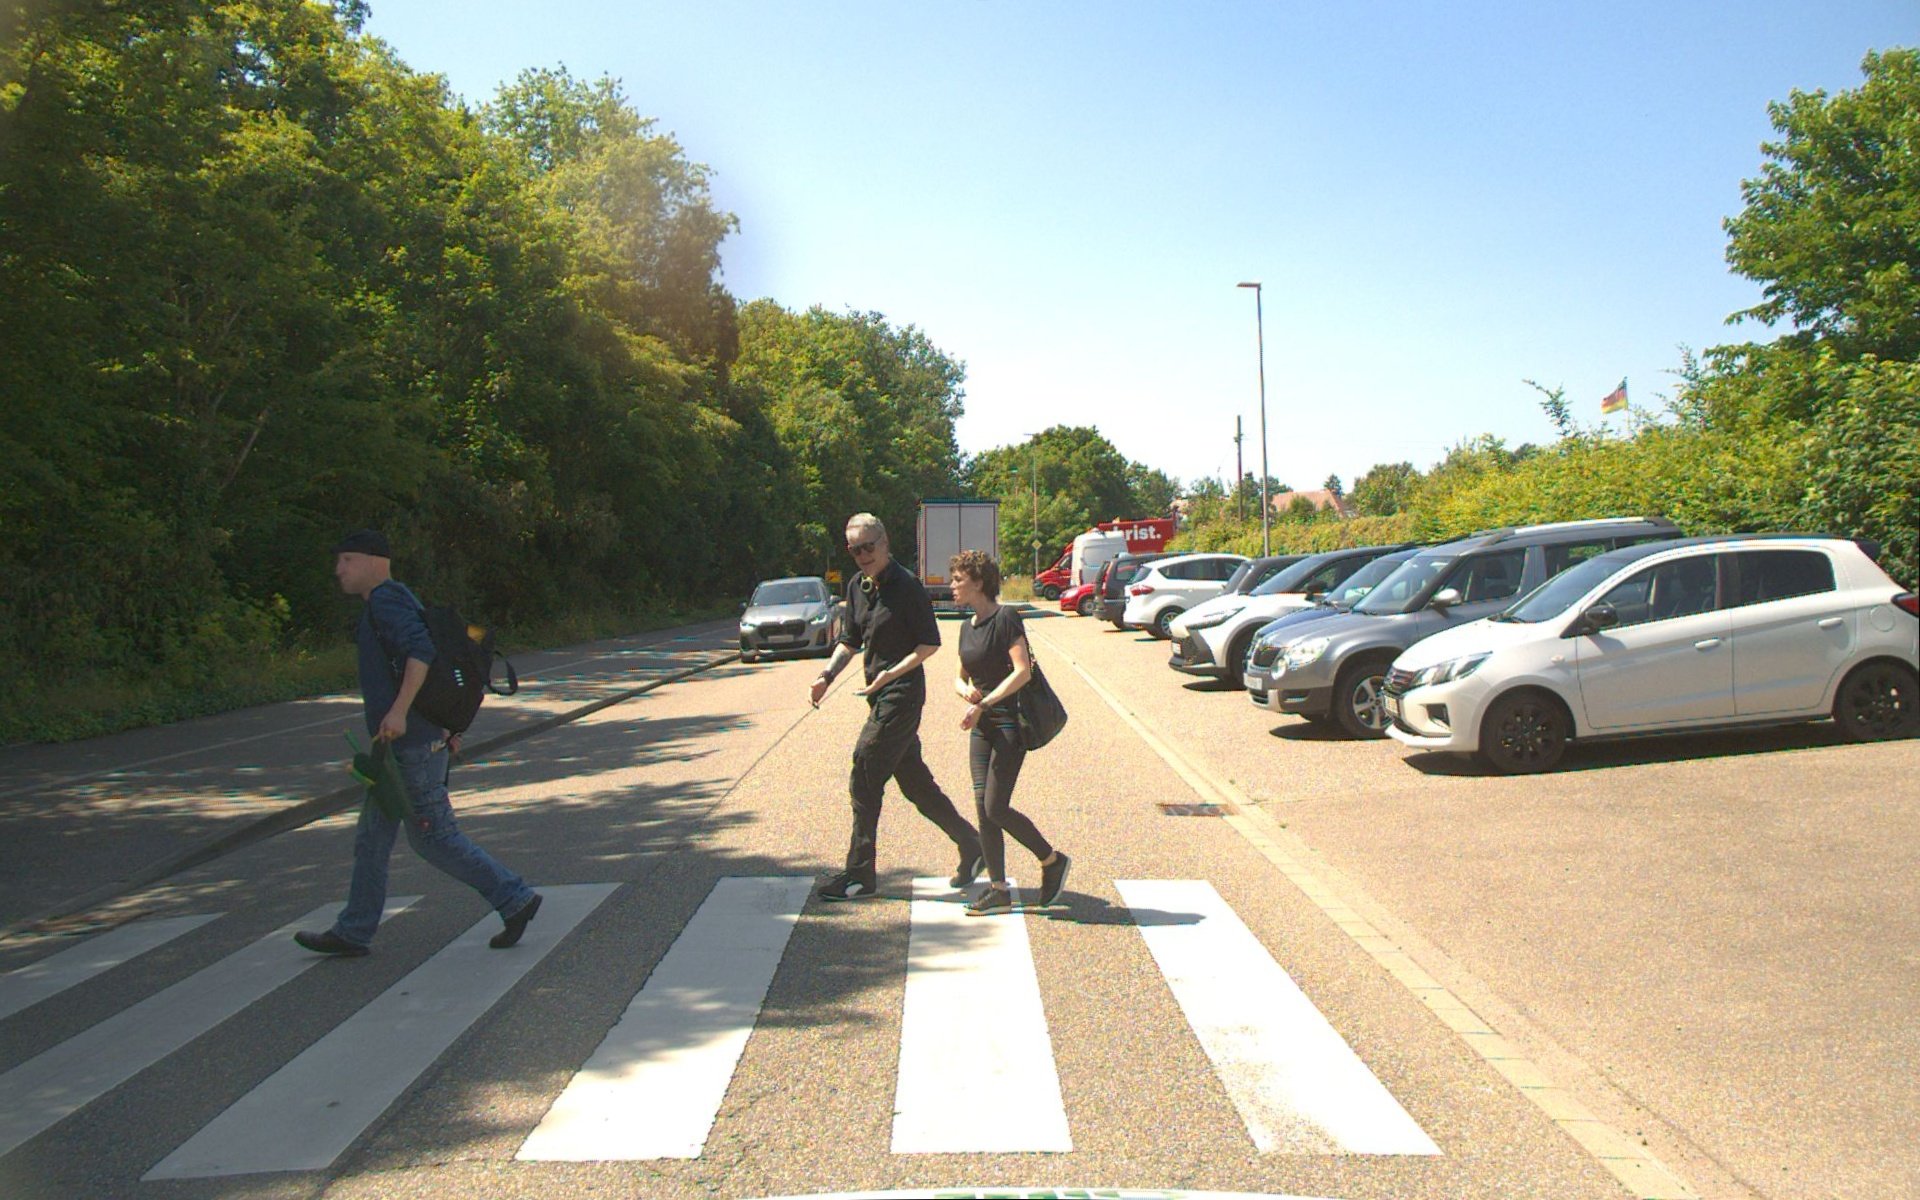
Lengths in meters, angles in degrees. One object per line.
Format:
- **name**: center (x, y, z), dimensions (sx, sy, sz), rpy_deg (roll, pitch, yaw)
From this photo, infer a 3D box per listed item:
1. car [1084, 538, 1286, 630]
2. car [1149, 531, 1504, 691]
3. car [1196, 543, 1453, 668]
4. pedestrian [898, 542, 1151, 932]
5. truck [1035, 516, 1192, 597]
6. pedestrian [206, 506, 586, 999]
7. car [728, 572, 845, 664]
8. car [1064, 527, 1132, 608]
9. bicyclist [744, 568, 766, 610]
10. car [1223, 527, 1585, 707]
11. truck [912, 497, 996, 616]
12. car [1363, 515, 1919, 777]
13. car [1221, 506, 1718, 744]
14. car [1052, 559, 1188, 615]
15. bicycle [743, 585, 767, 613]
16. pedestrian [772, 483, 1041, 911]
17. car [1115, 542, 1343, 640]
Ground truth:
- **car**: center (5.329, -0.383, 39.483), dimensions (4.366, 1.836, 1.951), rpy_deg (-4, 0, -4)
- **car**: center (4.533, 0.112, 20.818), dimensions (3.887, 1.549, 1.862), rpy_deg (-5, 1, -6)
- **car**: center (5.183, 0.056, 23.821), dimensions (3.317, 1.529, 1.589), rpy_deg (-4, 1, 3)
- **pedestrian**: center (0.281, 0.571, 7.508), dimensions (0.883, 1.639, 0.774), rpy_deg (0, 1, -27)
- **truck**: center (7.168, -2.033, 76.903), dimensions (6.984, 3.500, 2.332), rpy_deg (-1, 2, 11)
- **pedestrian**: center (-2.242, 0.563, 6.762), dimensions (1.132, 1.781, 1.022), rpy_deg (-4, 1, -4)
- **car**: center (-3.398, 0.300, 33.058), dimensions (1.853, 1.558, 4.196), rpy_deg (-6, 1, -1)
- **car**: center (5.166, -1.252, 62.850), dimensions (1.914, 2.780, 7.169), rpy_deg (-4, 1, 1)
- **bicyclist**: center (-7.883, -0.423, 63.711), dimensions (0.635, 1.592, 0.837), rpy_deg (-2, 1, 4)
- **car**: center (4.753, 0.154, 17.953), dimensions (3.386, 1.553, 1.538), rpy_deg (-5, 1, -5)
- **truck**: center (-0.102, -1.502, 59.856), dimensions (2.677, 3.811, 13.247), rpy_deg (-1, 1, 1)
- **car**: center (4.983, 0.297, 12.143), dimensions (3.613, 1.475, 1.611), rpy_deg (-5, 1, 3)
- **car**: center (4.536, 0.191, 15.019), dimensions (3.885, 1.668, 1.662), rpy_deg (-5, 1, -6)
- **car**: center (5.035, -0.422, 52.344), dimensions (3.974, 1.459, 1.835), rpy_deg (-4, 1, -3)
- **bicycle**: center (-7.875, -0.037, 63.700), dimensions (0.549, 1.045, 1.840), rpy_deg (-2, 1, 4)
- **pedestrian**: center (-0.265, 0.418, 7.915), dimensions (1.070, 1.897, 0.777), rpy_deg (-1, 1, -27)
- **car**: center (5.360, -0.194, 33.273), dimensions (4.191, 1.605, 1.765), rpy_deg (-4, 1, -2)
